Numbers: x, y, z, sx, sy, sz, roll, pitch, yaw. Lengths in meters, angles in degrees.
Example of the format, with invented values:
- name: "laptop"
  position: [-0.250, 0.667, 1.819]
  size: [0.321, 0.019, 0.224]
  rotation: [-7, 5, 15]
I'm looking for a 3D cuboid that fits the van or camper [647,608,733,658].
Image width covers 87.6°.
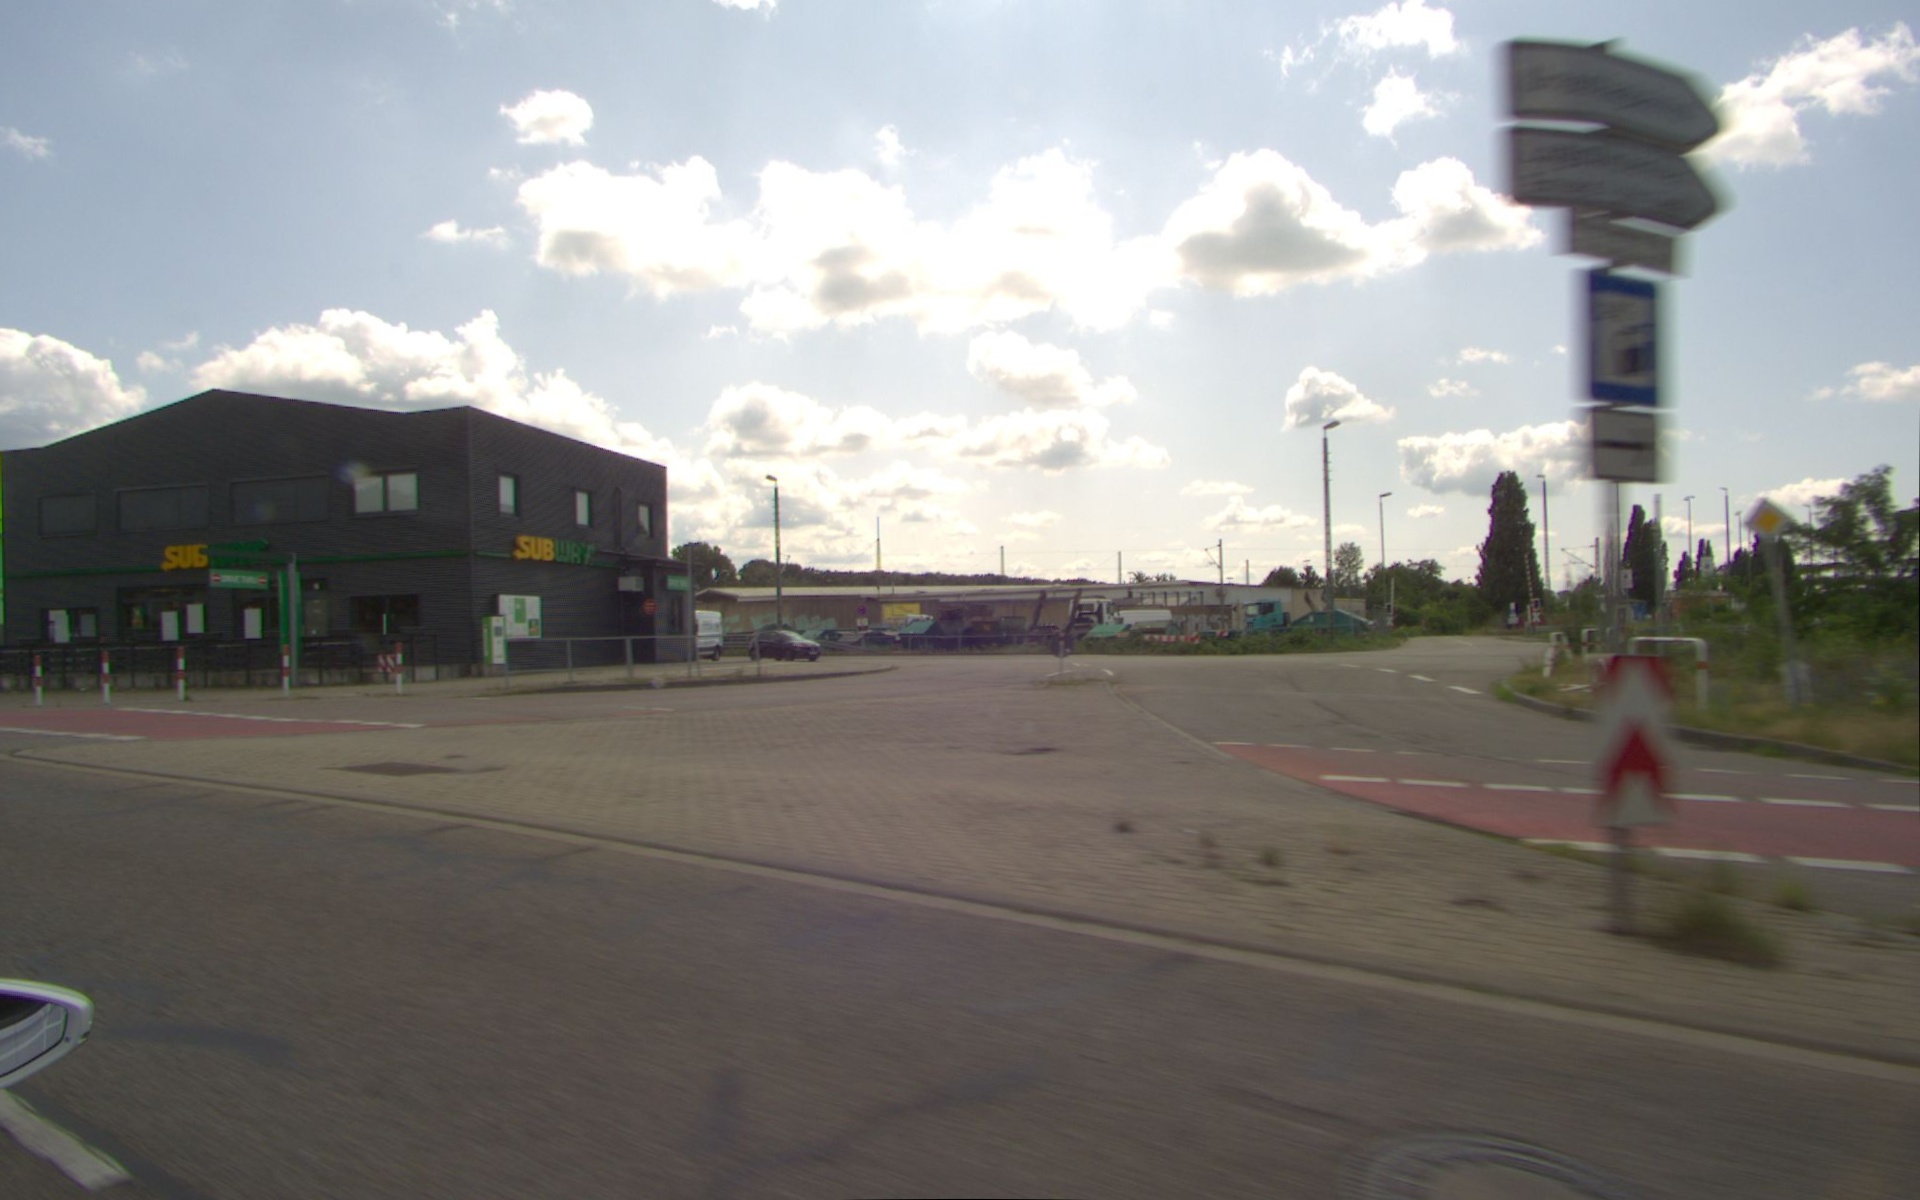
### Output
- name: "van or camper"
  position: [-12.737, 1.636, 47.714]
  size: [2.085, 2.199, 6.253]
  rotation: [-1, -3, 3]

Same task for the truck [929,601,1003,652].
- name: "truck"
  position: [0.382, 1.535, 56.062]
  size: [2.089, 2.748, 4.316]
  rotation: [-2, -3, 34]

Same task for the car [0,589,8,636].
- name: "car"
  position: [-43.845, 0.524, 41.772]
  size: [2.190, 2.039, 5.820]
  rotation: [-1, -1, 10]

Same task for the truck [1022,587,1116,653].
- name: "truck"
  position: [5.970, 1.191, 54.165]
  size: [2.674, 3.296, 5.903]
  rotation: [-2, -4, 33]

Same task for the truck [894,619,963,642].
- name: "truck"
  position: [-1.745, 1.778, 56.931]
  size: [1.855, 1.235, 4.316]
  rotation: [-2, -3, 33]

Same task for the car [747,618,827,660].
- name: "car"
  position: [-8.716, 1.961, 50.458]
  size: [3.828, 2.040, 1.744]
  rotation: [-1, -1, 34]

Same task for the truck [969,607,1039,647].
- name: "truck"
  position: [2.449, 1.517, 54.726]
  size: [1.951, 2.110, 4.318]
  rotation: [-2, -3, 32]
